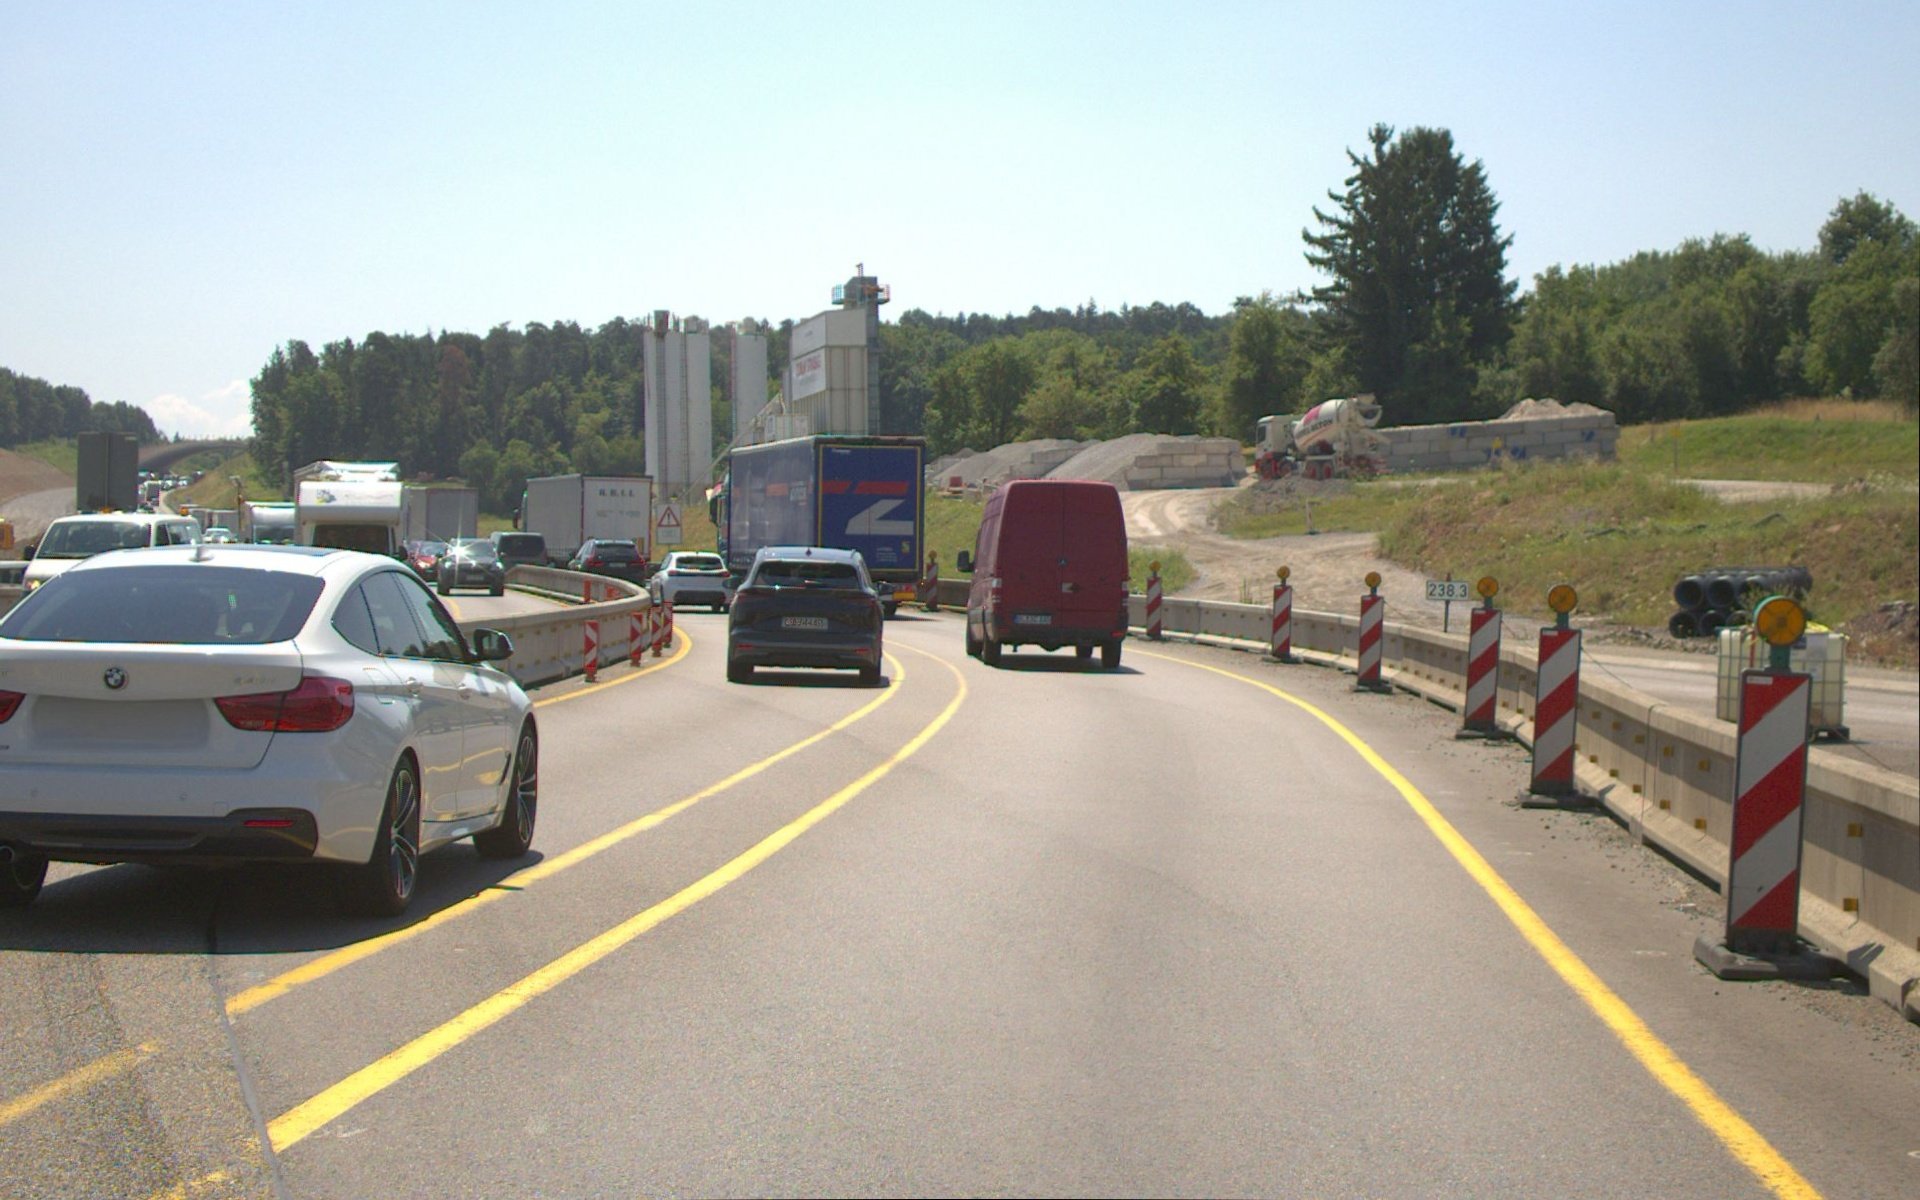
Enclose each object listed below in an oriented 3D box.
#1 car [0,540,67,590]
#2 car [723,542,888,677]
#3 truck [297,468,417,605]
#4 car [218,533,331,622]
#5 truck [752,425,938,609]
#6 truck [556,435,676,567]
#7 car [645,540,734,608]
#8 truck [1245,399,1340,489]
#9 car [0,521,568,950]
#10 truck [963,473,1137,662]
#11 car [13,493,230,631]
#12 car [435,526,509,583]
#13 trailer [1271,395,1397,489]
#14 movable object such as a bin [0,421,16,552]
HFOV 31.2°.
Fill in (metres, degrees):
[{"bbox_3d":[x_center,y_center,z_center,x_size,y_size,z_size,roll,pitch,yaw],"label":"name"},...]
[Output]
[{"bbox_3d":[-28.543,-1.056,102.842,3.192,1.450,1.547,-1,1,-40],"label":"car"},{"bbox_3d":[-1.818,0.076,41.516,1.795,1.529,3.931,0,1,0],"label":"car"},{"bbox_3d":[-14.080,-1.500,80.627,2.441,3.061,7.250,0,1,-7],"label":"truck"},{"bbox_3d":[-12.919,-0.459,64.993,1.719,1.622,4.337,0,1,-6],"label":"car"},{"bbox_3d":[-2.825,-1.967,81.664,3.014,4.138,8.275,0,1,-12],"label":"truck"},{"bbox_3d":[-12.800,-3.625,127.100,3.682,4.675,9.755,0,1,-10],"label":"truck"},{"bbox_3d":[-6.478,-0.638,81.959,1.801,1.574,4.001,0,1,-9],"label":"car"},{"bbox_3d":[15.511,-7.274,160.608,2.744,4.081,4.101,0,1,-23],"label":"truck"},{"bbox_3d":[-3.040,0.451,15.335,1.795,1.529,5.073,2,1,2],"label":"car"},{"bbox_3d":[1.254,-0.521,50.978,2.111,2.624,6.485,0,1,-3],"label":"truck"},{"bbox_3d":[-12.362,-0.593,50.984,1.866,1.947,4.892,0,1,2],"label":"car"},{"bbox_3d":[-14.074,-1.334,99.256,1.660,1.600,4.397,0,1,-2],"label":"car"},{"bbox_3d":[17.048,-7.182,157.069,2.755,4.100,6.747,0,1,-23],"label":"trailer"},{"bbox_3d":[-59.597,-6.655,202.393,7.635,7.687,3.447,0,1,-13],"label":"movable object such as a bin"}]
